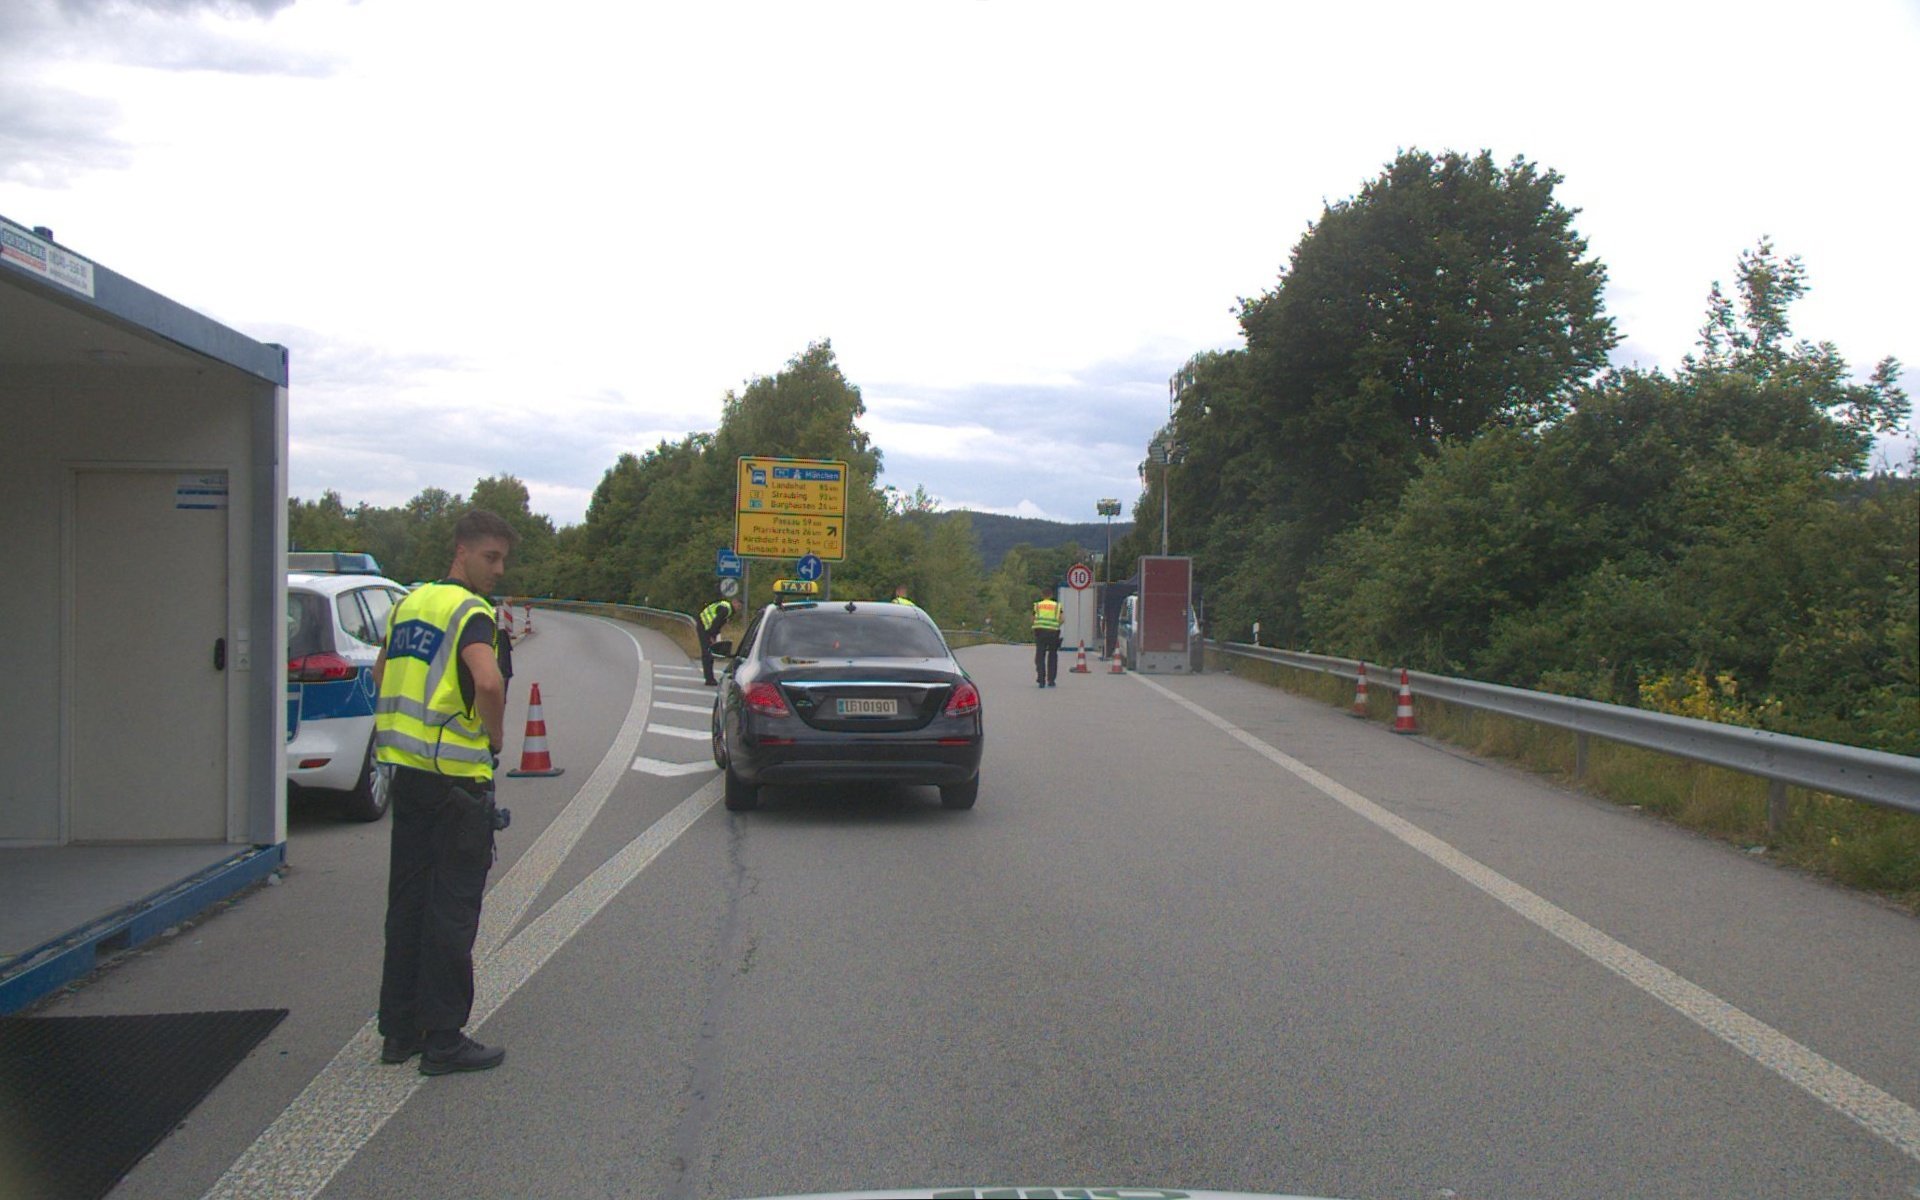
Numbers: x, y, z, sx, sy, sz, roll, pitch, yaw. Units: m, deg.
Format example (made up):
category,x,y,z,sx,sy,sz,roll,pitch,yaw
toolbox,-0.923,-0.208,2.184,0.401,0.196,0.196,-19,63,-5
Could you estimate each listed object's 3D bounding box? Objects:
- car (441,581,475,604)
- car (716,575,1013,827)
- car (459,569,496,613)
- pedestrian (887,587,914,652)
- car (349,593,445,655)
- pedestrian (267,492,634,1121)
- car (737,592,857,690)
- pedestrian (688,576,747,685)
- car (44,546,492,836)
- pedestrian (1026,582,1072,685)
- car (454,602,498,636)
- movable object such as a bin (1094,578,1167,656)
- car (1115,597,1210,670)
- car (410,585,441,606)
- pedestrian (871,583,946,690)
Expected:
category,x,y,z,sx,sy,sz,roll,pitch,yaw
car,-32.874,-0.490,108.256,1.825,1.488,3.974,1,0,-21
car,-0.927,0.648,12.961,1.822,1.623,4.365,0,0,-10
car,-25.453,-0.449,87.298,1.825,2.261,4.238,0,0,-16
pedestrian,-1.846,0.613,51.193,0.650,1.995,0.760,0,0,15
car,-14.649,0.599,43.221,1.822,1.524,4.244,0,0,-12
pedestrian,-1.575,0.573,5.155,0.747,1.748,0.814,0,0,37
car,-2.686,0.639,28.060,1.818,1.524,4.254,0,0,-3
pedestrian,-4.092,0.511,27.957,0.892,1.800,0.911,1,0,-3
car,-4.805,0.557,12.159,1.832,1.774,4.005,0,0,-4
pedestrian,1.635,0.615,30.405,0.796,1.862,0.809,0,0,-1
car,-21.767,0.837,74.456,1.821,1.488,3.983,1,0,-15
movable object such as a bin,5.293,0.514,51.787,1.952,2.320,4.169,1,0,2
car,5.183,0.821,42.943,1.877,1.707,5.084,2,0,1
car,-40.536,-0.326,125.316,1.827,1.488,3.970,1,0,-24
pedestrian,-0.850,0.585,27.111,0.900,1.727,0.904,1,0,-32
